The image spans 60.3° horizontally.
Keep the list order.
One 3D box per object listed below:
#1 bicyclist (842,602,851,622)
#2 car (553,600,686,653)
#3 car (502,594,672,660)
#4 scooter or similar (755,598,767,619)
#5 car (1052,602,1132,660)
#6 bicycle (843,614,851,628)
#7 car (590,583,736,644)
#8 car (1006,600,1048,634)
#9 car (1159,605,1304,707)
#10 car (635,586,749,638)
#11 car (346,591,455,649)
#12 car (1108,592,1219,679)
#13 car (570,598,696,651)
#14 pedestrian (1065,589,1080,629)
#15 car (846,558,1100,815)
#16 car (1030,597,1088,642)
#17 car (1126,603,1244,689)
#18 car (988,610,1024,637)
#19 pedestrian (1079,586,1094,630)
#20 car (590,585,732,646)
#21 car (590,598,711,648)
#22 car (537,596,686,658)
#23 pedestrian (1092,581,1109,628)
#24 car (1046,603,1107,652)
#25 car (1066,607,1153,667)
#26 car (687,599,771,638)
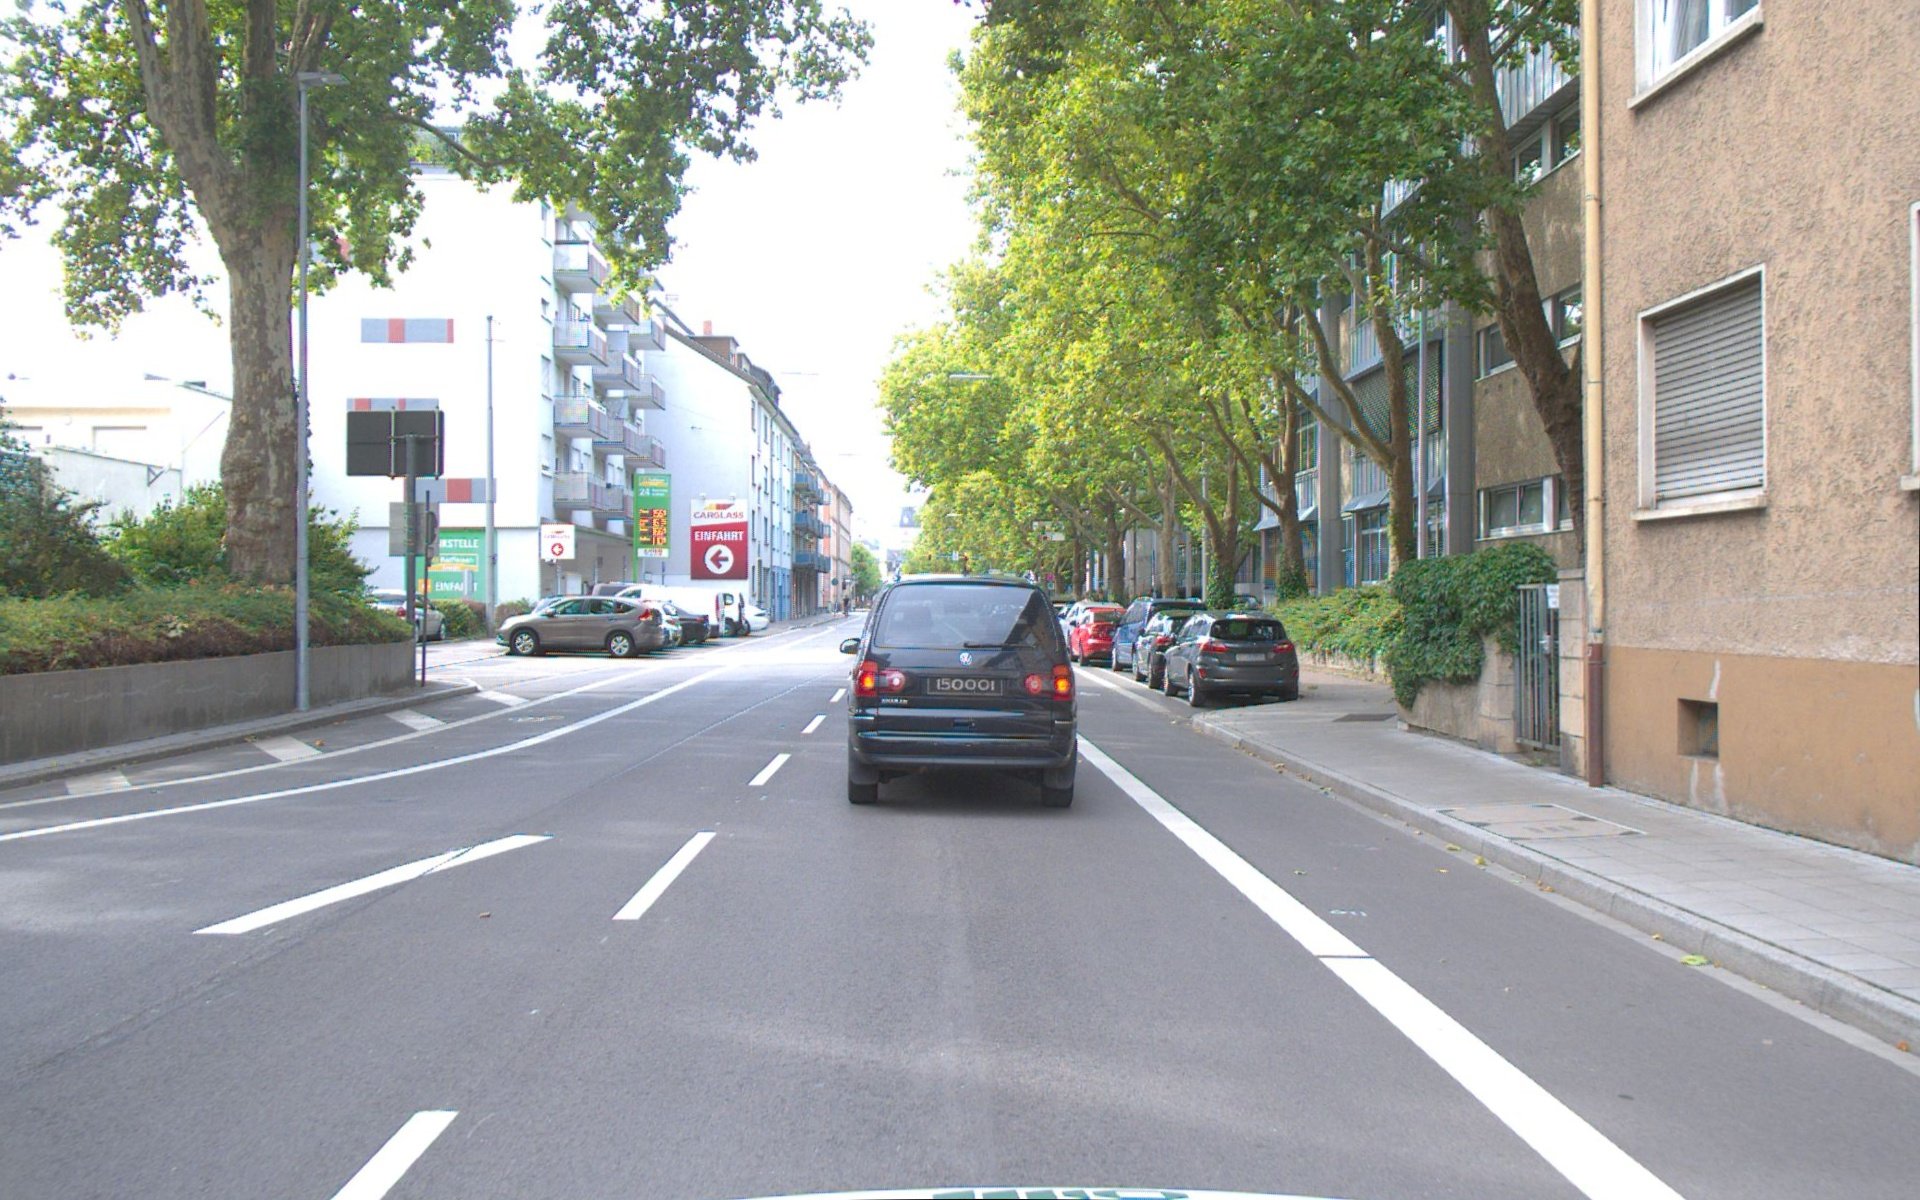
[{"bbox_3d":[-9.315,0.998,135.772,0.640,1.639,0.655,1,-3,-4],"label":"bicyclist"},{"bbox_3d":[-10.204,0.784,49.764,3.608,1.451,1.752,2,0,-3],"label":"car"},{"bbox_3d":[-10.158,0.726,45.261,4.170,1.633,1.968,1,1,-1],"label":"car"},{"bbox_3d":[-10.726,0.445,89.203,0.619,1.052,2.012,1,-2,-7],"label":"scooter or similar"},{"bbox_3d":[3.724,0.847,47.268,1.693,1.543,4.869,1,0,-2],"label":"car"},{"bbox_3d":[-9.264,1.735,135.350,0.618,1.052,2.013,1,-3,-4],"label":"bicycle"},{"bbox_3d":[-10.596,0.473,59.277,4.817,1.936,1.999,2,0,-2],"label":"car"},{"bbox_3d":[3.049,0.759,75.967,1.642,1.418,4.460,2,0,-1],"label":"car"},{"bbox_3d":[4.350,0.852,26.987,1.624,1.447,3.865,0,1,-2],"label":"car"},{"bbox_3d":[-10.646,0.489,65.838,4.221,1.902,1.823,2,0,-3],"label":"car"},{"bbox_3d":[-15.986,0.529,47.492,1.722,1.545,4.233,1,0,-1],"label":"car"},{"bbox_3d":[4.388,0.723,36.200,1.625,1.679,4.417,2,1,-3],"label":"car"},{"bbox_3d":[-10.246,0.748,51.997,3.608,1.511,1.752,2,0,-3],"label":"car"},{"bbox_3d":[4.902,0.399,72.086,0.575,1.731,0.508,1,1,0],"label":"pedestrian"},{"bbox_3d":[0.029,0.619,13.530,1.776,1.797,3.736,1,0,-2],"label":"car"},{"bbox_3d":[3.398,0.669,57.423,1.597,1.495,4.315,0,0,-2],"label":"car"},{"bbox_3d":[4.253,0.831,31.821,1.624,1.447,3.946,0,1,-2],"label":"car"},{"bbox_3d":[2.536,1.283,91.538,1.609,1.438,3.412,0,0,-5],"label":"car"},{"bbox_3d":[5.513,0.359,72.162,0.575,1.870,0.692,1,1,0],"label":"pedestrian"},{"bbox_3d":[-10.199,0.516,56.729,4.434,1.911,2.046,2,0,-1],"label":"car"},{"bbox_3d":[-10.049,0.746,53.860,3.608,1.470,1.753,2,0,-2],"label":"car"},{"bbox_3d":[-9.993,0.757,47.613,3.859,1.597,1.753,2,0,1],"label":"car"},{"bbox_3d":[6.116,0.208,71.819,0.629,2.010,0.692,1,1,0],"label":"pedestrian"},{"bbox_3d":[3.662,0.838,52.407,1.589,1.410,4.000,3,0,0],"label":"car"},{"bbox_3d":[3.708,0.891,41.651,1.642,1.418,4.459,0,0,-2],"label":"car"},{"bbox_3d":[-9.496,0.759,68.181,3.276,1.523,1.595,2,-1,-3],"label":"car"}]
